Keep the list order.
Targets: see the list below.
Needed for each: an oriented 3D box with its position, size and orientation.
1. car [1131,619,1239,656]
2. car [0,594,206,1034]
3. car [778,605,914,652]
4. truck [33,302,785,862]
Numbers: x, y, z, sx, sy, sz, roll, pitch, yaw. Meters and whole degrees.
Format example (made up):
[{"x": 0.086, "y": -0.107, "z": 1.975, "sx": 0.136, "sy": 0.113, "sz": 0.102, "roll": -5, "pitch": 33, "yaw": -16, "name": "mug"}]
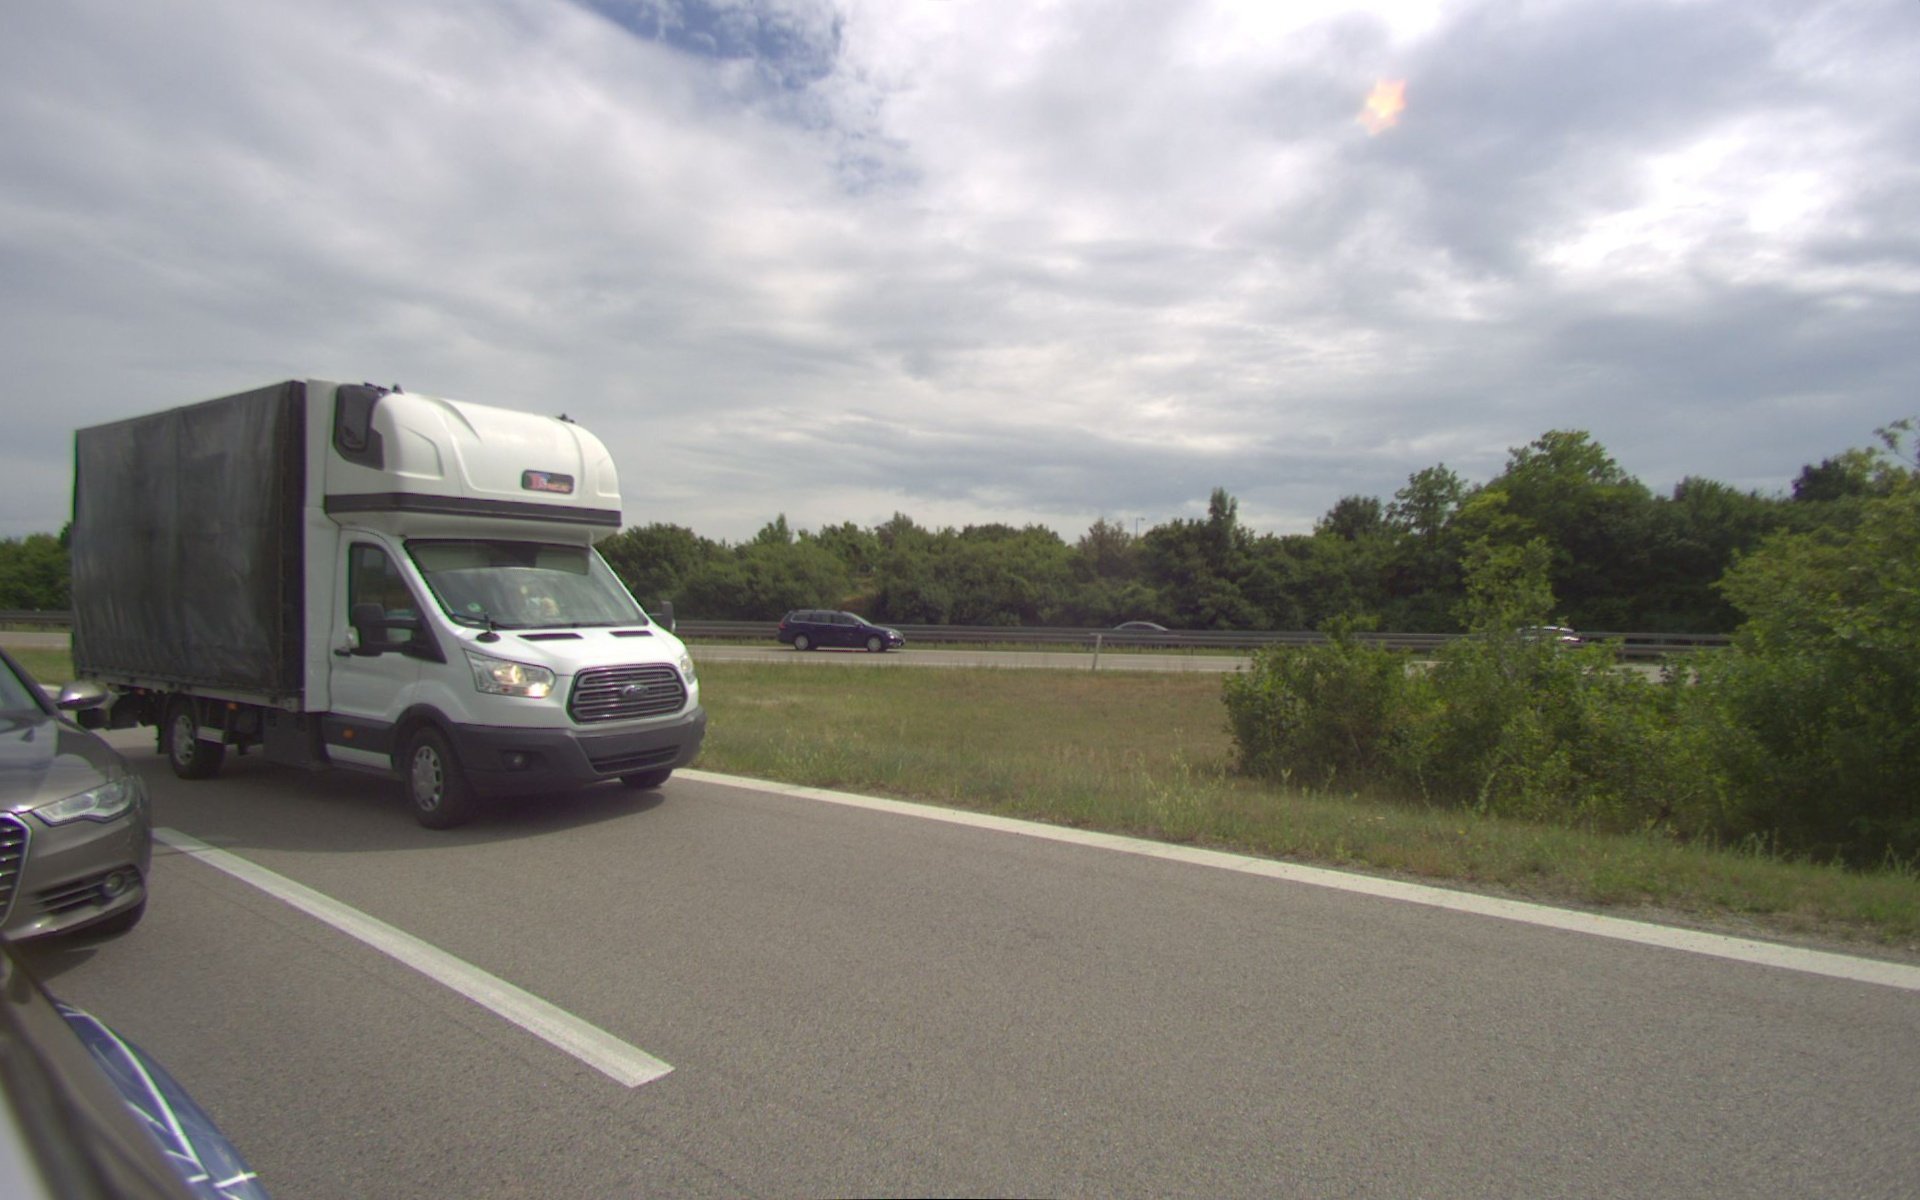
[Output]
[{"x": 10.462, "y": 1.716, "z": 47.360, "sx": 4.668, "sy": 1.611, "sz": 1.997, "roll": 1, "pitch": -1, "yaw": 5, "name": "car"}, {"x": -5.320, "y": 0.771, "z": 4.669, "sx": 4.535, "sy": 1.526, "sz": 1.973, "roll": -1, "pitch": -1, "yaw": 40, "name": "car"}, {"x": -4.123, "y": 1.009, "z": 37.078, "sx": 4.669, "sy": 1.611, "sz": 1.997, "roll": 1, "pitch": -1, "yaw": 5, "name": "car"}, {"x": -5.181, "y": -0.071, "z": 8.869, "sx": 7.445, "sy": 3.191, "sz": 2.540, "roll": -1, "pitch": 0, "yaw": 33, "name": "truck"}]
